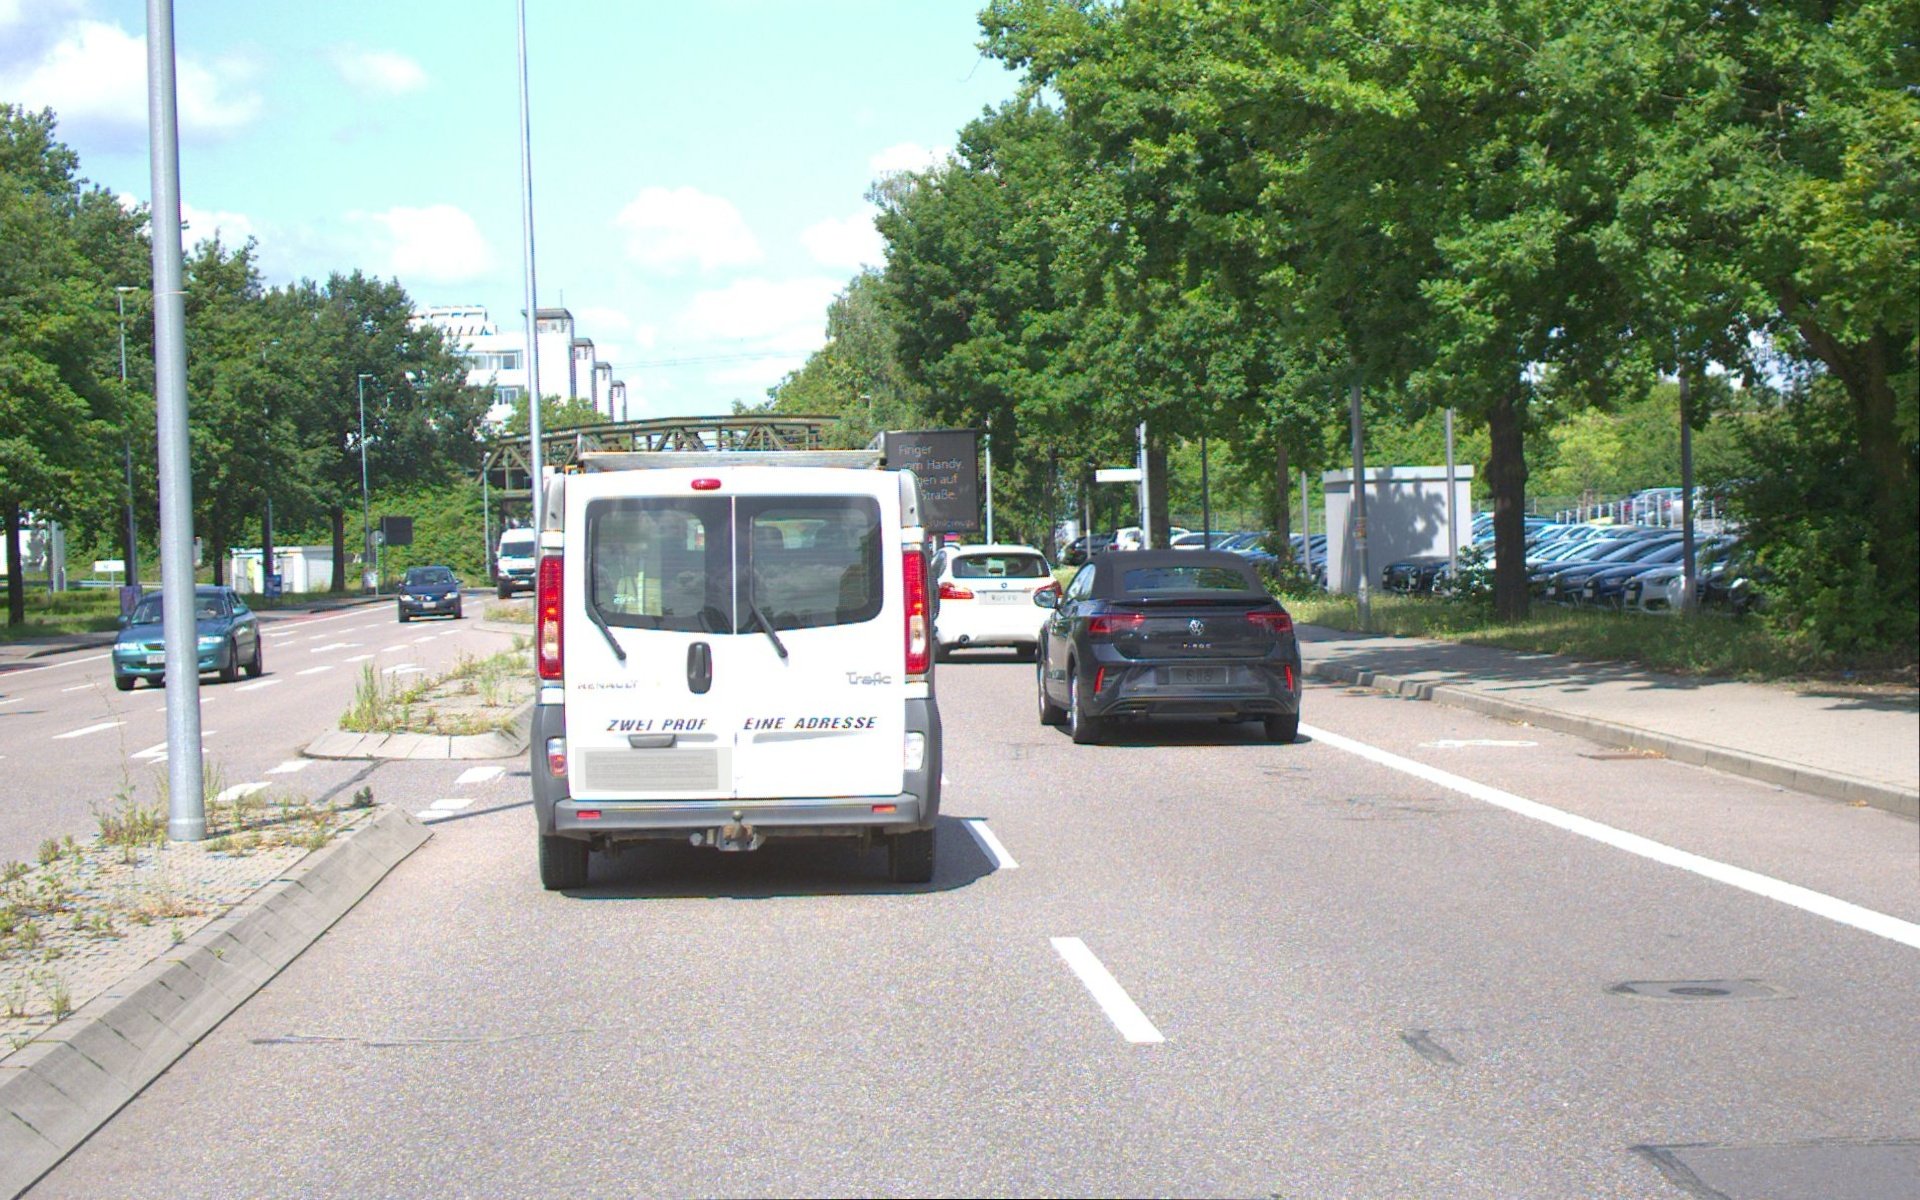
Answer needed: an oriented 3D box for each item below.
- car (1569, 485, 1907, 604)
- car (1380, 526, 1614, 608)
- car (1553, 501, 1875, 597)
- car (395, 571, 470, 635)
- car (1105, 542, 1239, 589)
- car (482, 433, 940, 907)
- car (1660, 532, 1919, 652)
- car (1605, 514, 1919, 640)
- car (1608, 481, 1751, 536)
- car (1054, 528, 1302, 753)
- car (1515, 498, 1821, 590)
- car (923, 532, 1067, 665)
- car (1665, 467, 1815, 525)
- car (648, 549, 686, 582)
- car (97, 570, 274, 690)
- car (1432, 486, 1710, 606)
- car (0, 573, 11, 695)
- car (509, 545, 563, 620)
[{"bbox_3d":[11.592,-0.852,51.379,4.574,1.672,1.908,-1,3,-3],"label":"car"},{"bbox_3d":[10.837,-0.673,69.581,4.354,1.507,1.856,-2,1,-2],"label":"car"},{"bbox_3d":[11.774,-0.812,53.850,4.574,1.400,1.908,-1,3,-3],"label":"car"},{"bbox_3d":[-15.133,0.061,98.785,1.737,1.604,4.242,-5,1,-5],"label":"car"},{"bbox_3d":[7.296,-1.202,118.505,4.354,1.507,1.936,-1,3,-4],"label":"car"},{"bbox_3d":[-1.132,0.227,17.407,1.973,2.052,4.565,-1,2,-1],"label":"car"},{"bbox_3d":[11.943,-0.134,46.242,4.574,1.493,1.907,-2,1,-3],"label":"car"},{"bbox_3d":[11.681,-0.340,48.981,4.574,1.672,1.908,-1,3,-3],"label":"car"},{"bbox_3d":[24.054,-3.058,115.010,4.355,1.768,1.936,0,3,0],"label":"car"},{"bbox_3d":[1.711,0.267,28.117,1.774,1.623,4.000,-1,2,0],"label":"car"},{"bbox_3d":[11.592,-0.932,56.454,4.574,1.400,1.908,-1,3,-3],"label":"car"},{"bbox_3d":[0.434,-0.057,46.636,1.774,1.623,4.001,-1,2,-1],"label":"car"},{"bbox_3d":[24.865,-3.334,109.694,4.355,1.768,1.936,0,3,0],"label":"car"},{"bbox_3d":[-17.046,-2.040,200.152,1.993,1.765,4.001,-1,3,-2],"label":"car"},{"bbox_3d":[-11.390,0.400,50.842,1.773,1.543,4.822,-4,1,-4],"label":"car"},{"bbox_3d":[10.864,-0.983,61.312,4.574,2.042,1.908,-1,3,-3],"label":"car"},{"bbox_3d":[-14.652,0.581,47.552,1.928,1.749,4.822,-4,1,-4],"label":"car"},{"bbox_3d":[-16.974,-0.729,137.423,2.022,2.883,6.384,-2,1,-7],"label":"car"}]
